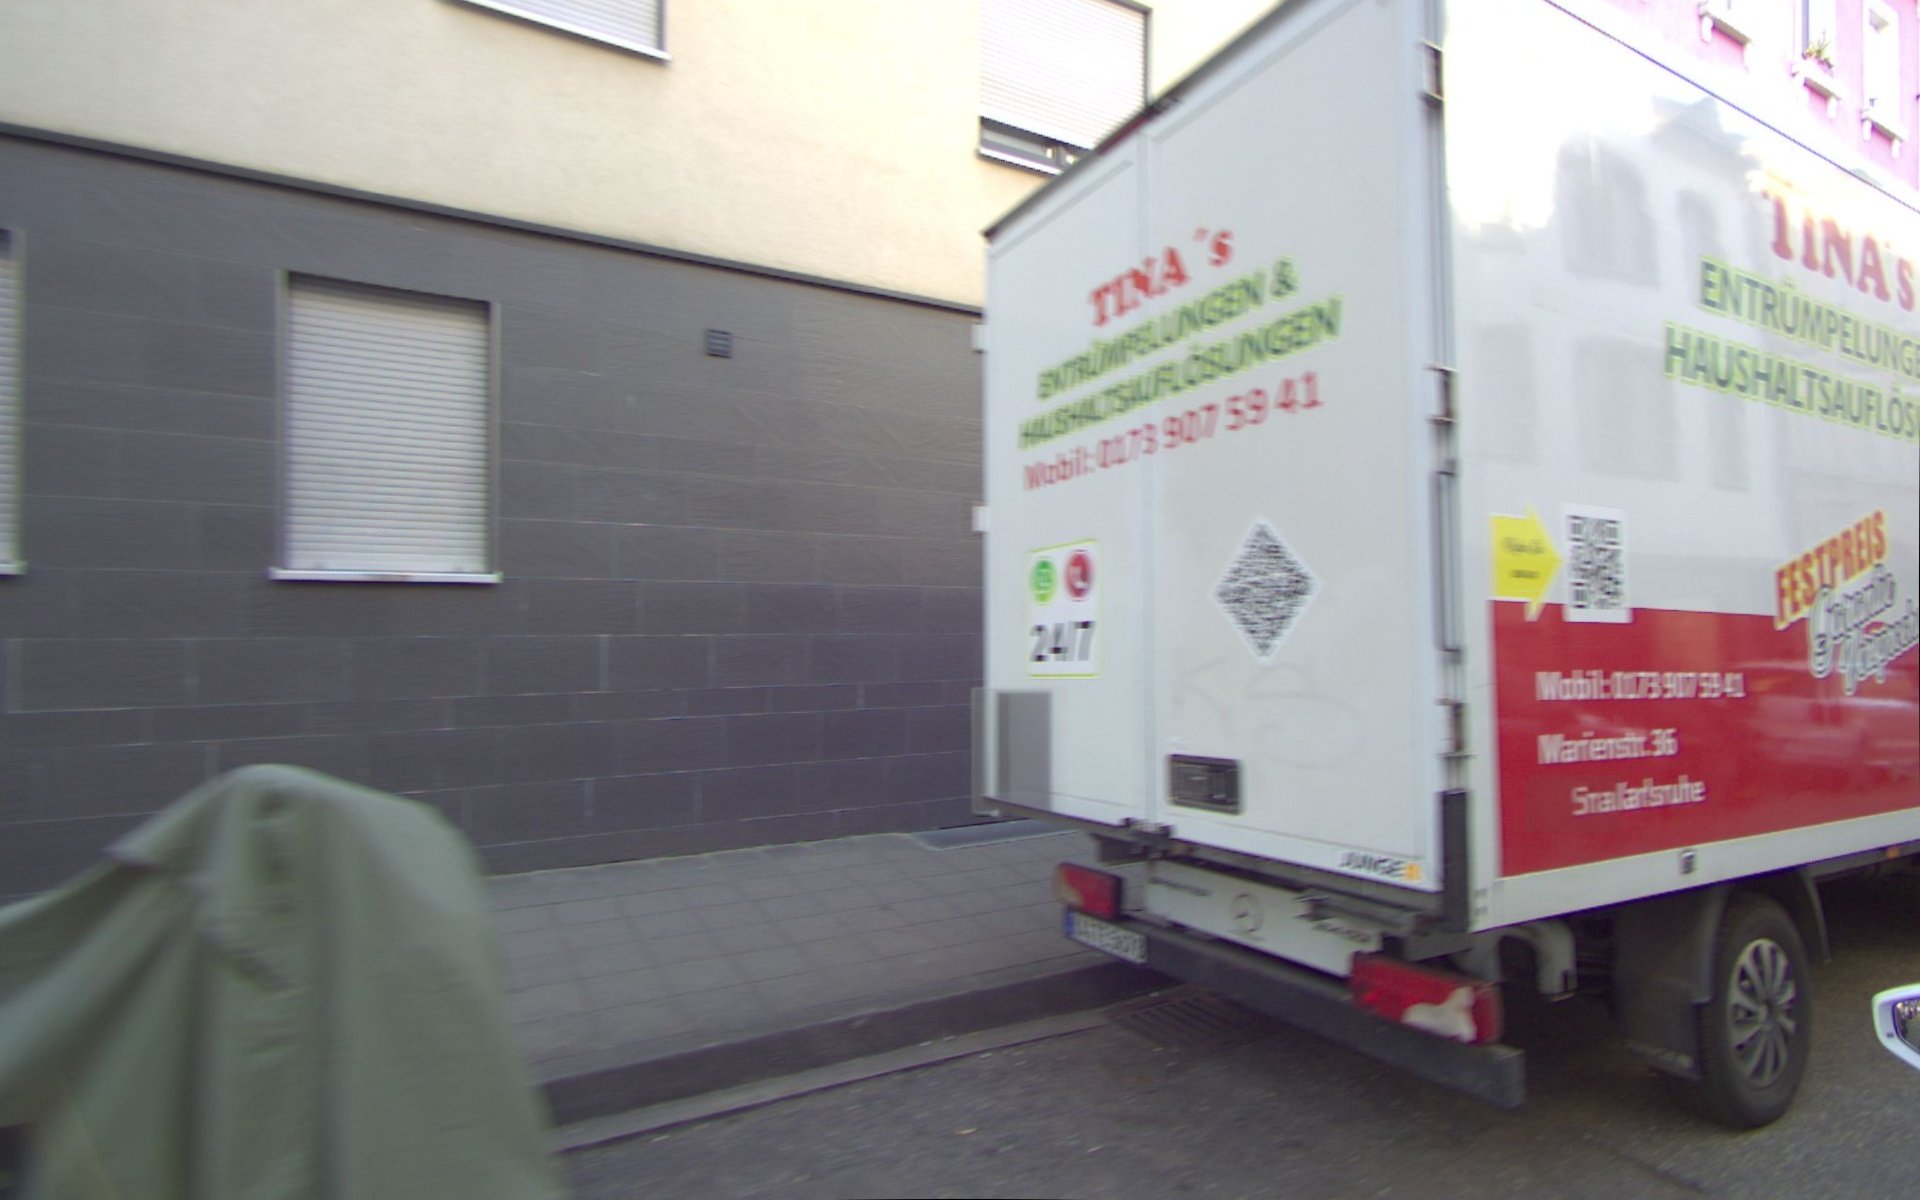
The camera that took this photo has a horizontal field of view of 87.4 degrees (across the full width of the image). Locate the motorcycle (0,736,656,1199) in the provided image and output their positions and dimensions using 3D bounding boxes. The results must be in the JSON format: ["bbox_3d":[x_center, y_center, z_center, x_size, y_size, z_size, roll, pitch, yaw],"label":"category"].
[{"bbox_3d":[-1.769,0.954,2.059,2.064,1.269,0.793,-1,-2,11],"label":"motorcycle"}]

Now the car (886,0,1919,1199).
[{"bbox_3d":[3.329,-0.008,4.771,7.069,3.334,2.333,1,-3,-30],"label":"car"}]
